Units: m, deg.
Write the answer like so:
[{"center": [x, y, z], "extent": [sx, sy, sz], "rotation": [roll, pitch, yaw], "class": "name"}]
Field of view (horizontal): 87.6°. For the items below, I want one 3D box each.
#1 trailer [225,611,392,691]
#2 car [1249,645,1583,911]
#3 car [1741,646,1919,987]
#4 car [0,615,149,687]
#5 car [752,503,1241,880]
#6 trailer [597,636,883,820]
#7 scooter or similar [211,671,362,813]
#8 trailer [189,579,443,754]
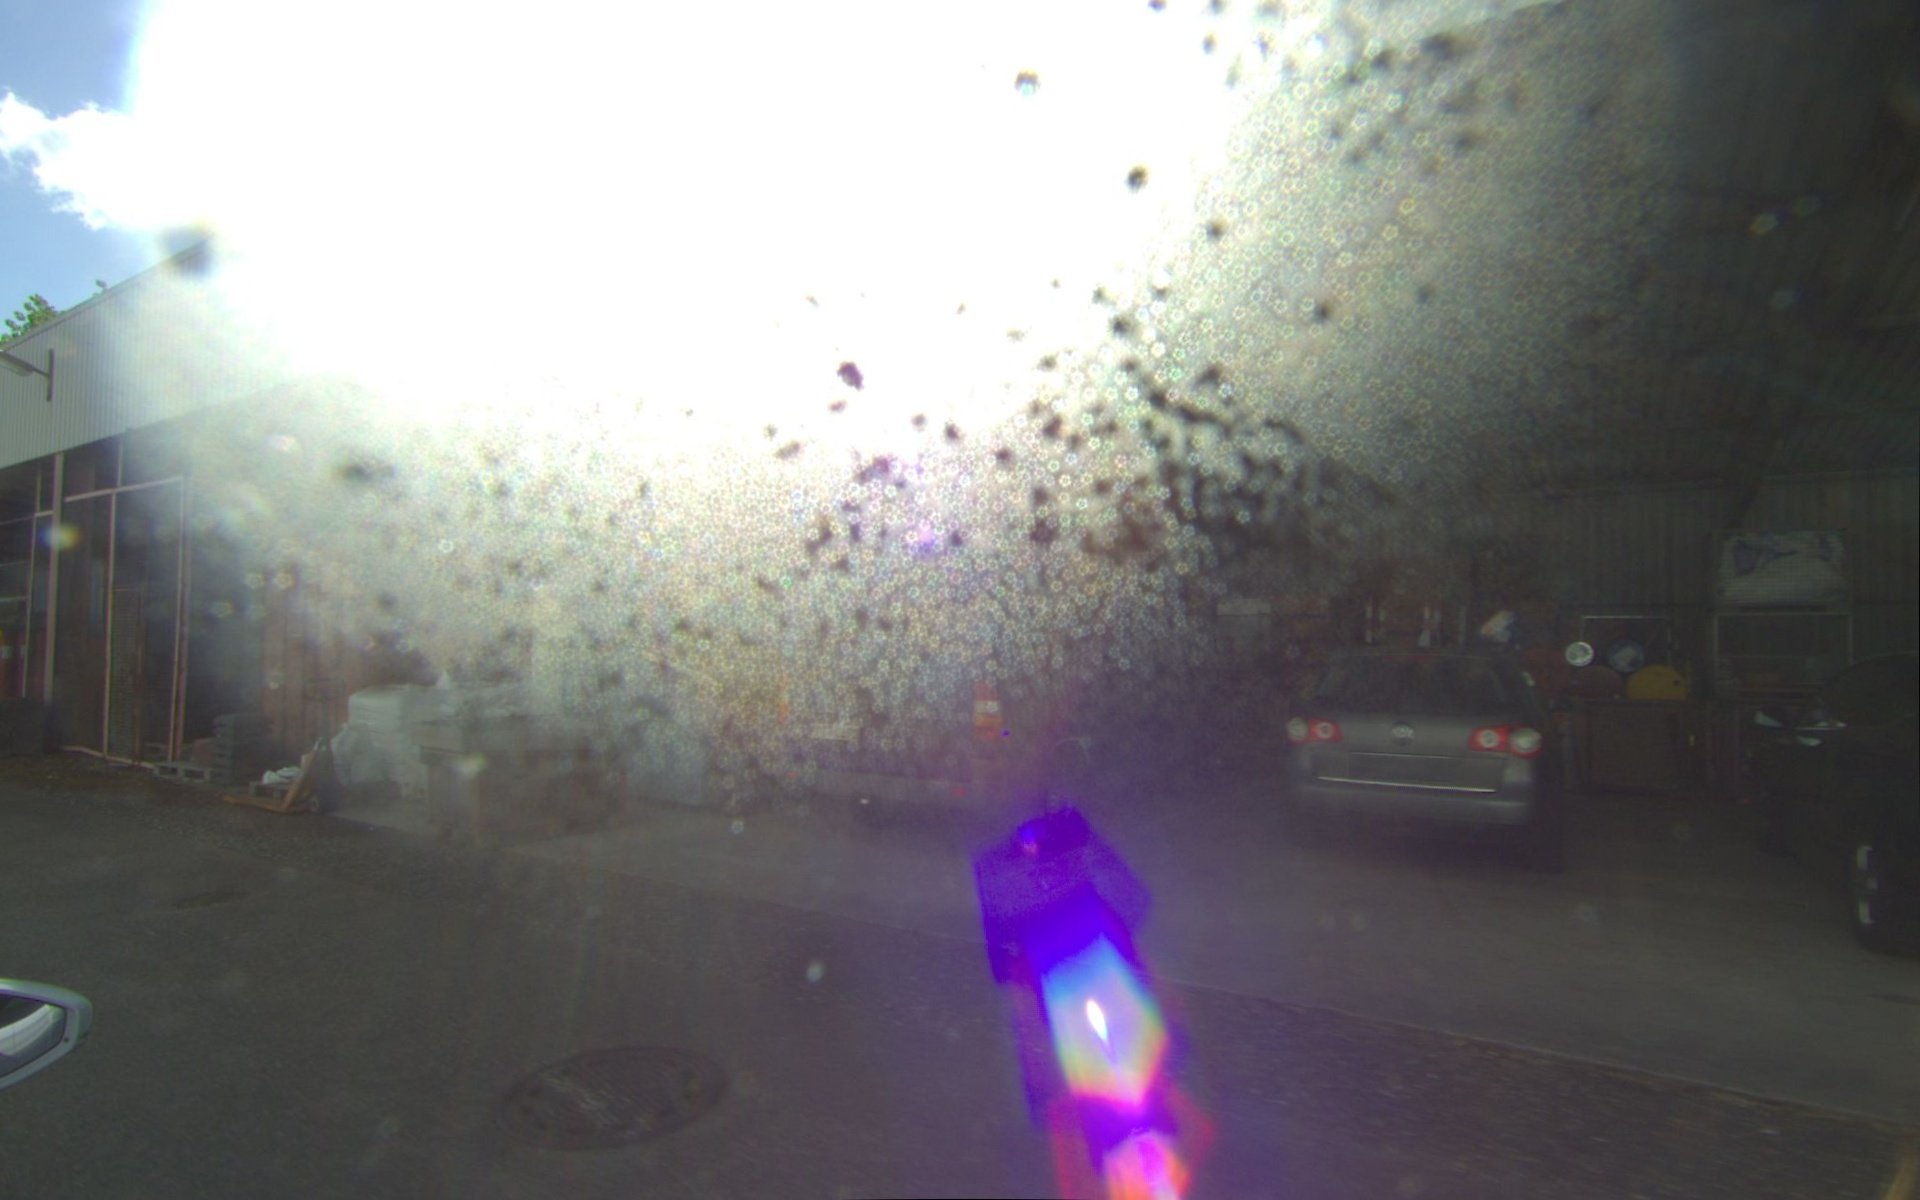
[{"center": [-18.950, 1.479, 29.234], "extent": [2.431, 2.164, 3.397], "rotation": [-1, -3, 35], "class": "trailer"}, {"center": [3.773, 1.097, 7.840], "extent": [1.824, 1.472, 4.100], "rotation": [-1, -3, 32], "class": "car"}, {"center": [5.815, 0.989, 5.438], "extent": [1.837, 1.451, 4.340], "rotation": [-1, -3, 30], "class": "car"}, {"center": [-26.592, 1.456, 28.340], "extent": [2.243, 1.941, 5.167], "rotation": [-1, -4, 28], "class": "car"}, {"center": [0.738, 0.716, 8.953], "extent": [2.054, 2.325, 5.210], "rotation": [-1, -3, 32], "class": "car"}, {"center": [-2.012, 1.111, 9.412], "extent": [1.620, 1.480, 2.089], "rotation": [-2, -4, 36], "class": "trailer"}, {"center": [-6.026, 1.218, 8.943], "extent": [1.570, 1.148, 0.519], "rotation": [-2, -3, 33], "class": "scooter or similar"}, {"center": [-9.017, 0.882, 13.989], "extent": [3.469, 2.170, 1.575], "rotation": [-1, -2, 30], "class": "trailer"}]
